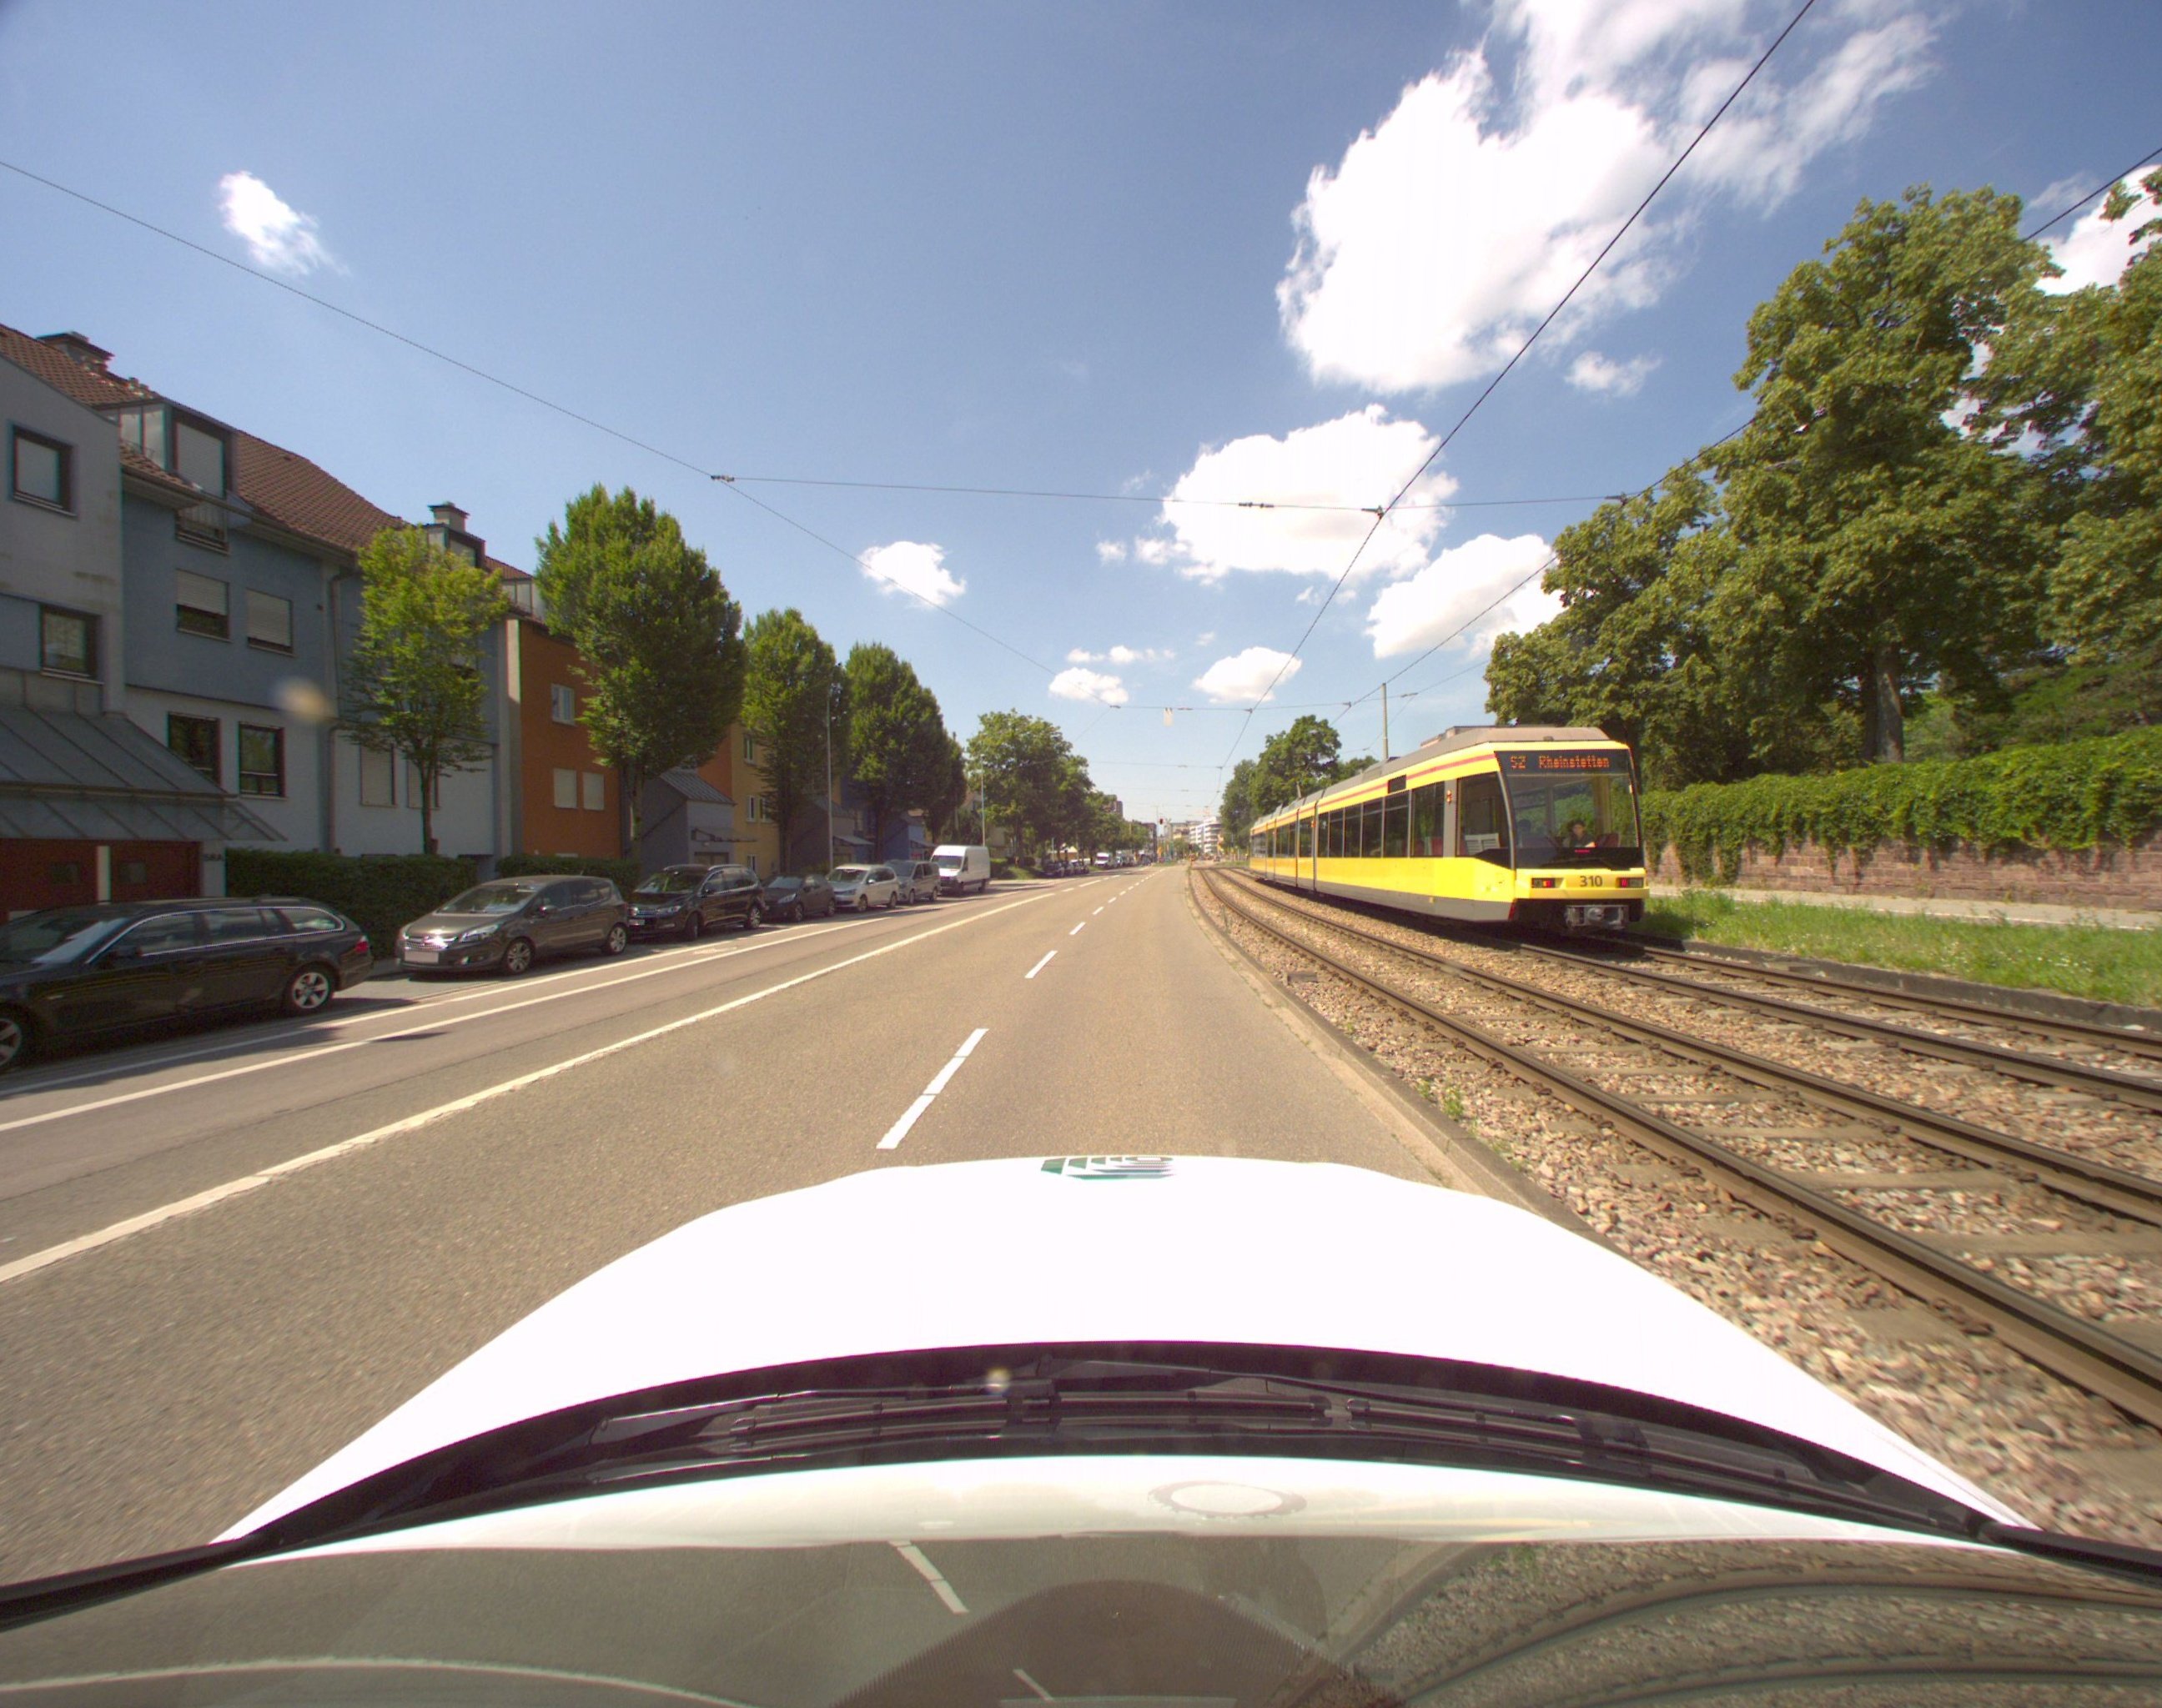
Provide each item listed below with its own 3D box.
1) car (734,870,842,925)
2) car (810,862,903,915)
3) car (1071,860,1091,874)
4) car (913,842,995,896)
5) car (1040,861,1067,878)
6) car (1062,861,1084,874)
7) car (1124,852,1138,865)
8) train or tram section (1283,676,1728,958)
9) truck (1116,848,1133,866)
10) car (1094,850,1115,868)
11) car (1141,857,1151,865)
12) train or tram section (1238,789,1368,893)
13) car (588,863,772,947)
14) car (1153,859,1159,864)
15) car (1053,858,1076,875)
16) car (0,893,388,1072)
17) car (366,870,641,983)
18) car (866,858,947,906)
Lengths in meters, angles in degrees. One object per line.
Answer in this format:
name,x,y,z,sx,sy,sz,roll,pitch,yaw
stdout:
car,-9.087,1.302,25.607,1.591,1.471,4.093,-2,0,5
car,-8.330,1.222,30.684,1.708,1.752,4.910,-2,0,5
car,0.003,1.454,92.825,1.765,1.481,4.056,0,0,8
car,-6.813,0.762,44.682,2.310,2.651,7.051,2,0,8
car,-2.489,1.390,74.870,1.765,1.456,4.812,-1,0,6
car,-0.820,1.431,87.994,1.765,1.373,4.705,0,0,6
car,10.231,0.932,164.974,2.143,2.639,5.627,1,0,10
train or tram section,7.871,-0.465,19.978,2.929,3.692,18.416,-1,0,5
truck,8.102,0.559,150.282,2.143,3.210,7.102,1,0,10
car,3.563,0.748,122.429,2.143,2.487,6.210,1,0,10
car,12.198,1.355,153.136,1.766,1.460,4.202,-3,-1,6
train or tram section,9.882,-0.451,39.187,2.928,3.692,20.320,-1,0,6
car,-9.649,1.128,20.135,1.743,1.716,4.894,-2,0,5
car,20.905,2.028,226.368,1.669,1.398,4.012,-4,-1,6
car,-1.645,1.252,82.712,1.765,1.604,4.645,-1,0,6
car,-10.522,1.250,8.803,1.734,1.446,4.829,0,0,3
car,-10.109,1.171,14.756,1.648,1.617,4.291,-2,0,5
car,-7.649,1.180,36.301,1.797,1.895,5.372,-2,0,7
